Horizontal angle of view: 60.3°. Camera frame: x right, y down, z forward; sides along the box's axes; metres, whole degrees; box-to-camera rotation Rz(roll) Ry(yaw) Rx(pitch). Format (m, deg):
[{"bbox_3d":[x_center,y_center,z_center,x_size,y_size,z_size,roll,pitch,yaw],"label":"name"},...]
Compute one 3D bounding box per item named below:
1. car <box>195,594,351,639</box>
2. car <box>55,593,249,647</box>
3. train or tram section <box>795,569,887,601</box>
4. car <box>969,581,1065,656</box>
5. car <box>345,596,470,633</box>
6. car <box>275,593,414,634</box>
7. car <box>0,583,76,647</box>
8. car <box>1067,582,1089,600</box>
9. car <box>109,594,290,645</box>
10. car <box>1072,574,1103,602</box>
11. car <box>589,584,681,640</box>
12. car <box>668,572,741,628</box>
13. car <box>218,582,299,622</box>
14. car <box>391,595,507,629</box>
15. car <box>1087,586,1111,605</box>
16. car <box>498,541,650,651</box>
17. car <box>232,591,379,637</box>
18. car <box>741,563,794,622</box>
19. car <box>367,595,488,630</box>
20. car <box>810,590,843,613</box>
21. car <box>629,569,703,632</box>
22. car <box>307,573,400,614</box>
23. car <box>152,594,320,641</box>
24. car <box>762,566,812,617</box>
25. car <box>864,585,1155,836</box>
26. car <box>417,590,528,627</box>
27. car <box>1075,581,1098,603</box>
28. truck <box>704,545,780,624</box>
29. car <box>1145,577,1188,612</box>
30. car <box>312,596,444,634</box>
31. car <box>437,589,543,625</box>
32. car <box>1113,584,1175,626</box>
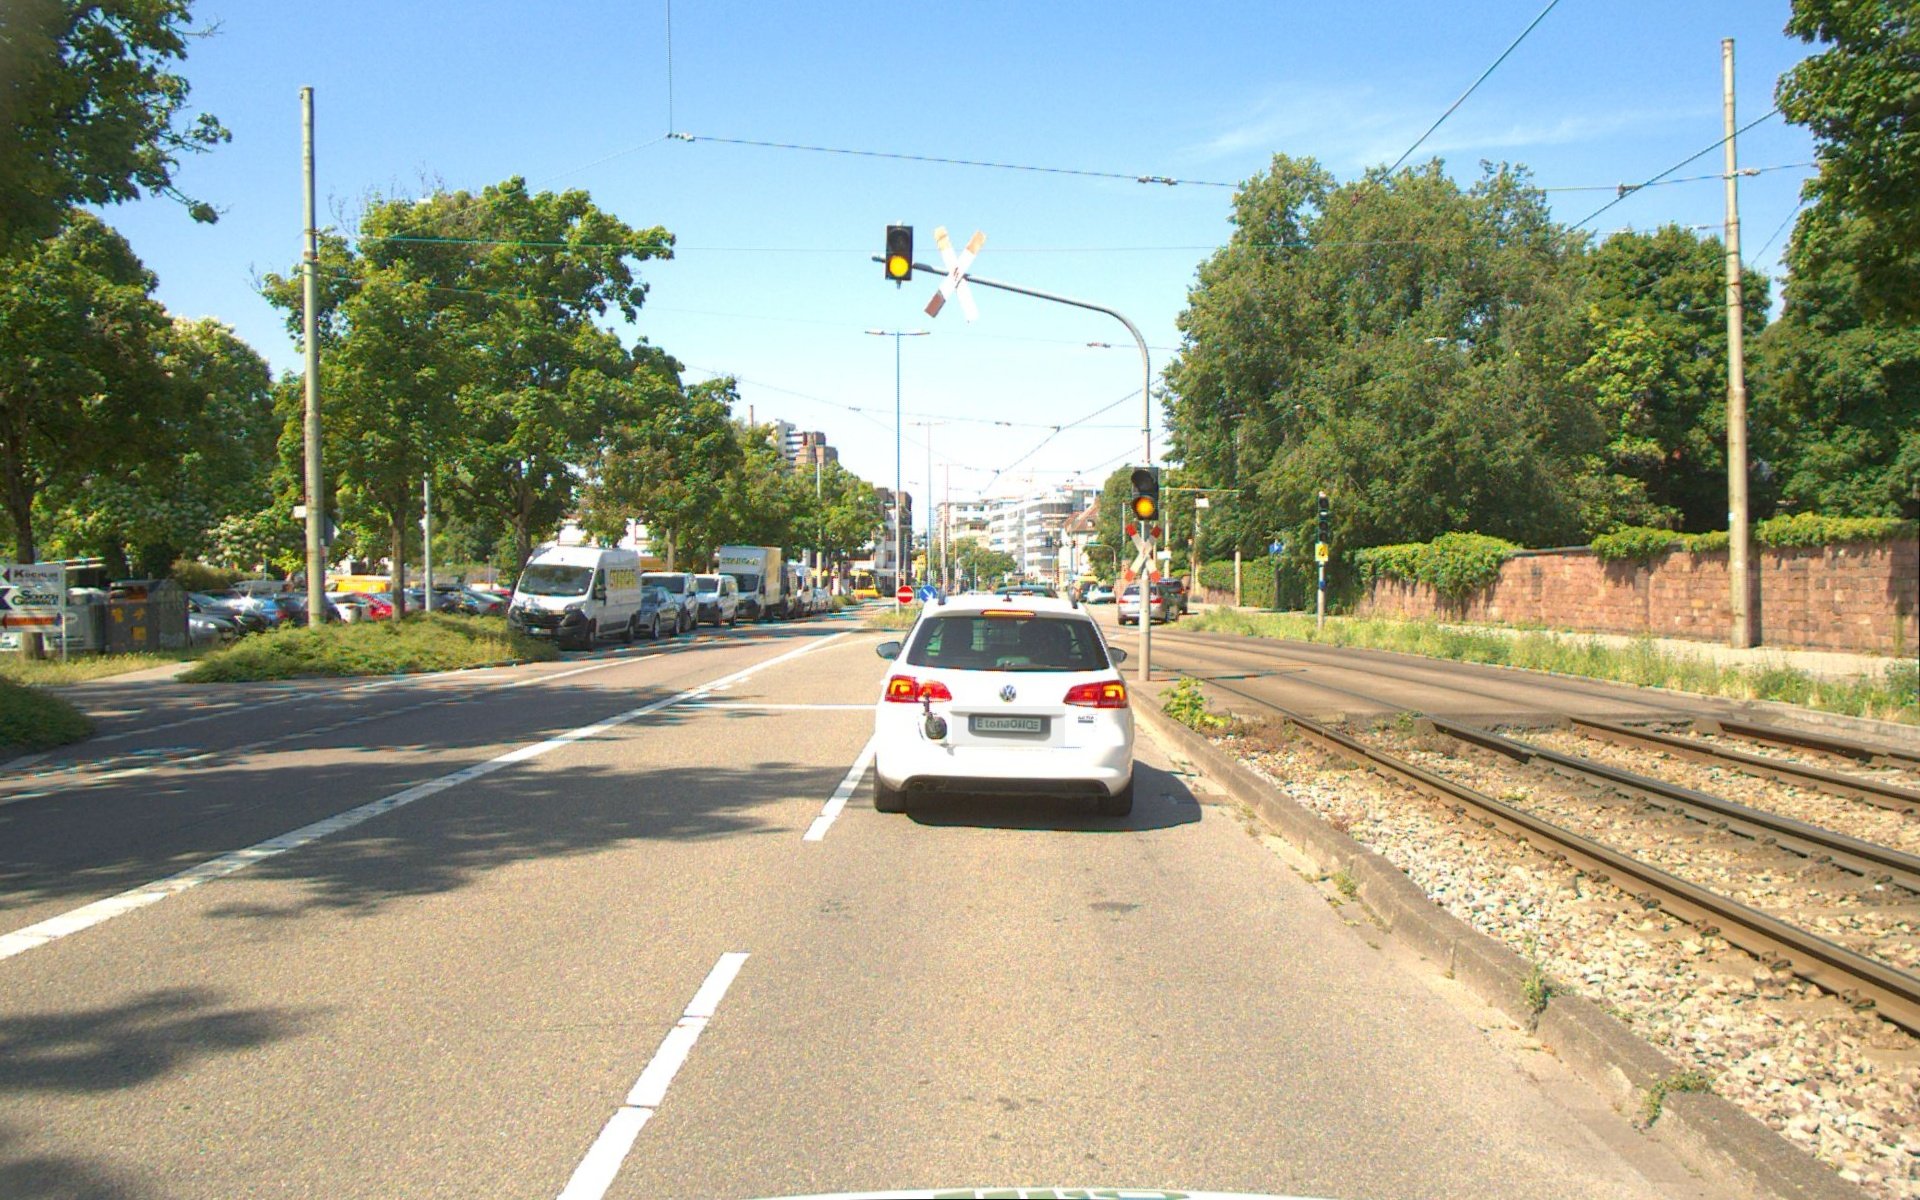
[{"bbox_3d":[-20.539,0.488,49.548,3.903,1.246,1.772,-1,1,3],"label":"car"},{"bbox_3d":[-19.977,0.487,40.996,3.906,1.246,1.771,-1,1,-1],"label":"car"},{"bbox_3d":[-13.638,-1.712,188.261,11.029,3.309,2.304,2,0,30],"label":"train or tram section"},{"bbox_3d":[1.230,0.336,34.103,1.709,1.412,3.916,1,1,5],"label":"car"},{"bbox_3d":[-19.934,0.519,59.749,3.903,1.246,1.772,-1,1,3],"label":"car"},{"bbox_3d":[-20.307,0.432,54.630,3.903,1.286,1.772,-1,0,3],"label":"car"},{"bbox_3d":[-32.137,0.446,54.730,4.601,2.049,1.998,2,0,-4],"label":"car"},{"bbox_3d":[11.555,-0.861,162.455,1.952,1.624,4.000,2,0,1],"label":"car"},{"bbox_3d":[-19.970,0.500,43.553,3.906,1.246,1.771,-1,1,-1],"label":"car"},{"bbox_3d":[11.860,-1.082,153.977,2.412,2.542,5.910,2,0,0],"label":"car"},{"bbox_3d":[-9.515,0.319,48.752,1.805,1.543,4.197,-1,1,1],"label":"car"},{"bbox_3d":[-9.562,-0.018,62.189,1.805,1.995,5.135,-1,1,1],"label":"car"},{"bbox_3d":[-34.921,0.100,82.417,3.353,1.909,1.552,-1,0,-1],"label":"car"},{"bbox_3d":[-19.819,0.463,64.203,3.903,1.246,1.772,-1,1,3],"label":"car"},{"bbox_3d":[10.962,-0.343,130.722,1.549,1.369,3.454,2,0,0],"label":"car"},{"bbox_3d":[-9.822,-0.136,42.686,2.015,2.544,6.310,2,1,3],"label":"car"},{"bbox_3d":[-20.589,0.432,52.104,3.903,1.373,1.772,-1,0,3],"label":"car"},{"bbox_3d":[-9.169,-0.370,78.945,1.805,2.715,5.004,-1,1,1],"label":"car"},{"bbox_3d":[-19.964,0.456,62.085,3.903,1.246,1.772,-1,1,3],"label":"car"},{"bbox_3d":[-8.613,0.080,106.736,1.744,1.458,4.038,-1,1,1],"label":"car"},{"bbox_3d":[-9.826,-0.012,55.623,1.807,1.971,5.191,-1,1,-3],"label":"car"},{"bbox_3d":[-32.051,-0.338,87.462,4.174,2.049,1.998,2,0,-5],"label":"car"},{"bbox_3d":[-20.216,0.482,46.272,3.903,1.246,1.772,-1,1,3],"label":"car"},{"bbox_3d":[-8.958,-0.448,86.022,1.805,2.538,5.857,-1,1,1],"label":"car"},{"bbox_3d":[0.299,0.654,12.037,1.732,1.471,3.913,2,1,0],"label":"car"},{"bbox_3d":[-19.668,0.334,66.838,3.903,1.426,1.772,-1,0,3],"label":"car"},{"bbox_3d":[11.057,-0.710,144.650,1.656,1.844,3.454,2,0,0],"label":"car"},{"bbox_3d":[-9.221,-0.679,70.644,2.308,3.177,6.891,-1,1,0],"label":"truck"},{"bbox_3d":[9.659,-0.252,77.612,1.822,1.539,3.915,2,1,5],"label":"car"},{"bbox_3d":[-20.090,0.506,57.181,3.903,1.246,1.772,-1,1,3],"label":"car"},{"bbox_3d":[-19.677,0.289,69.341,3.903,1.469,1.772,-1,0,3],"label":"car"},{"bbox_3d":[6.794,0.174,60.845,1.821,1.441,4.329,2,1,12],"label":"car"}]
